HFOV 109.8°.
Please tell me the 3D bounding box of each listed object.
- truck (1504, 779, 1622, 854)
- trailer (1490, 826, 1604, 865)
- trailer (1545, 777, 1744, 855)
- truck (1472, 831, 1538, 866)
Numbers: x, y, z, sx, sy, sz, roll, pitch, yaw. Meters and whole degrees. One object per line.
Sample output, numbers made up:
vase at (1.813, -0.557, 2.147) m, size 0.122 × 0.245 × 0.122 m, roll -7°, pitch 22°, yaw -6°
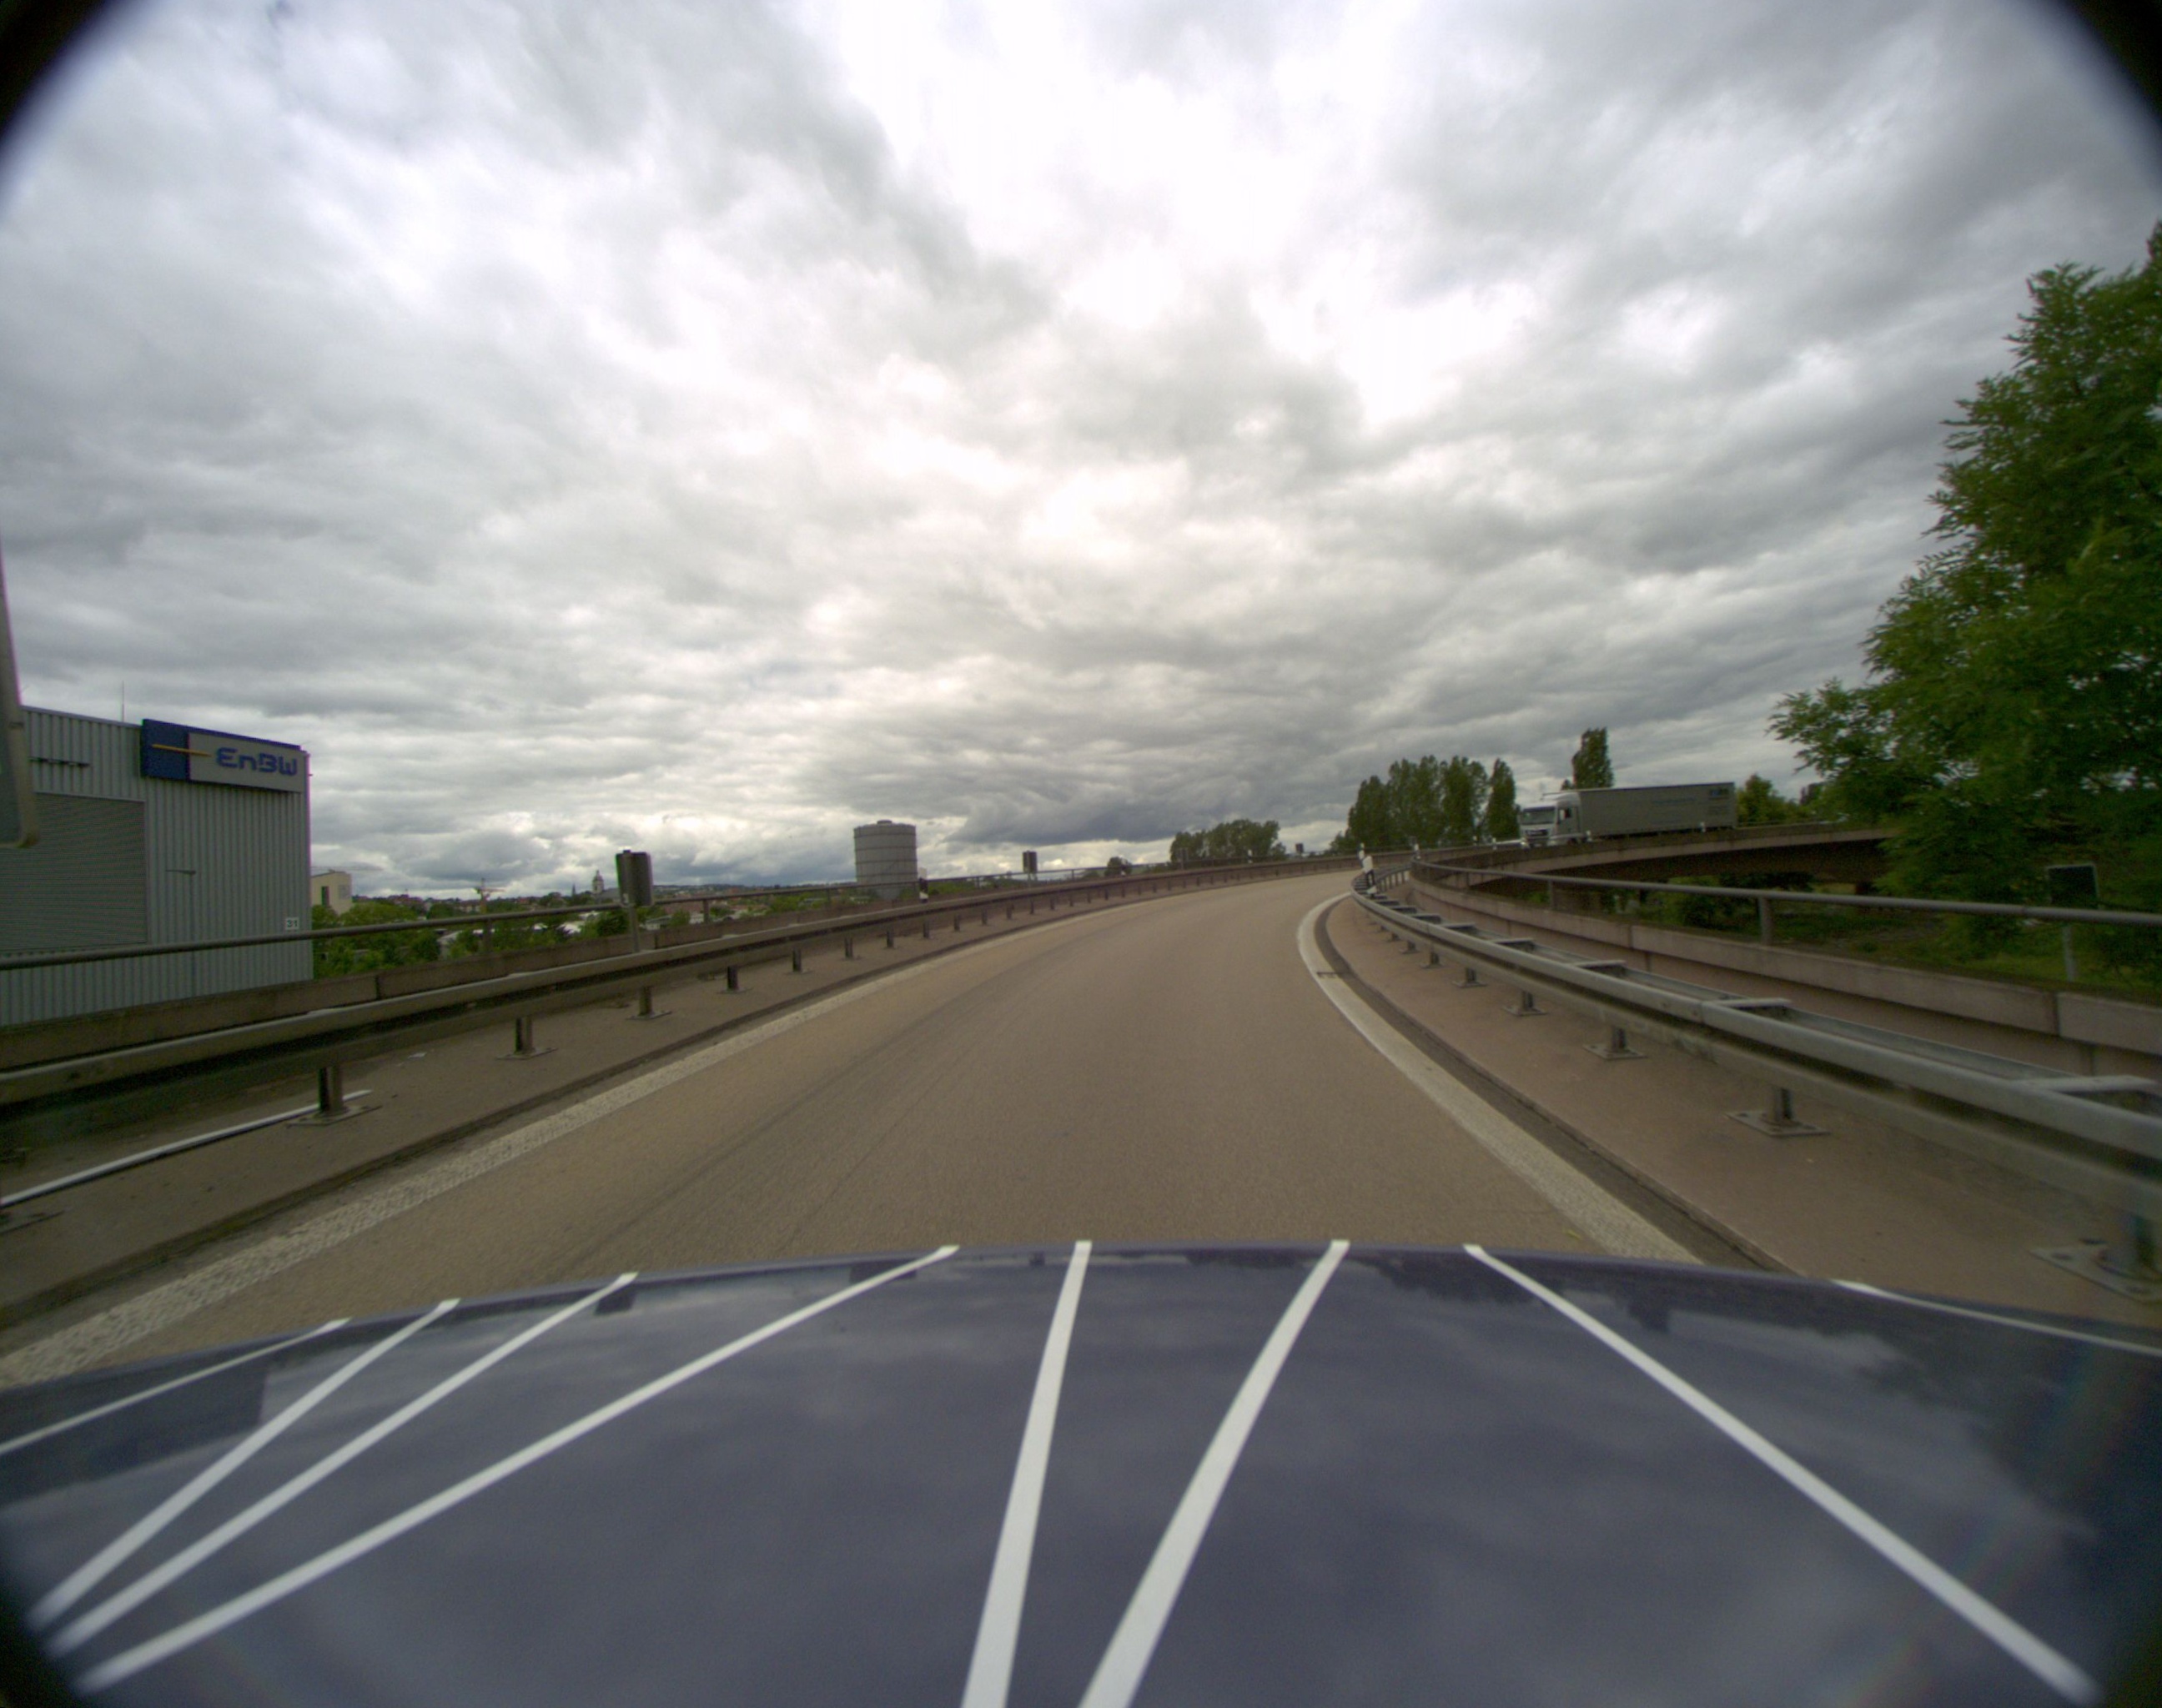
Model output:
truck at (29.996, -2.329, 47.303) m, size 6.205 × 4.202 × 2.733 m, roll -4°, pitch -1°, yaw -20°
trailer at (54.308, -0.909, 88.964) m, size 2.753 × 3.627 × 10.981 m, roll -4°, pitch -2°, yaw -36°
trailer at (36.919, -2.517, 49.663) m, size 13.454 × 4.211 × 2.746 m, roll -4°, pitch -1°, yaw -17°
truck at (51.667, -0.637, 92.711) m, size 2.741 × 3.623 × 6.187 m, roll -4°, pitch -1°, yaw -36°
